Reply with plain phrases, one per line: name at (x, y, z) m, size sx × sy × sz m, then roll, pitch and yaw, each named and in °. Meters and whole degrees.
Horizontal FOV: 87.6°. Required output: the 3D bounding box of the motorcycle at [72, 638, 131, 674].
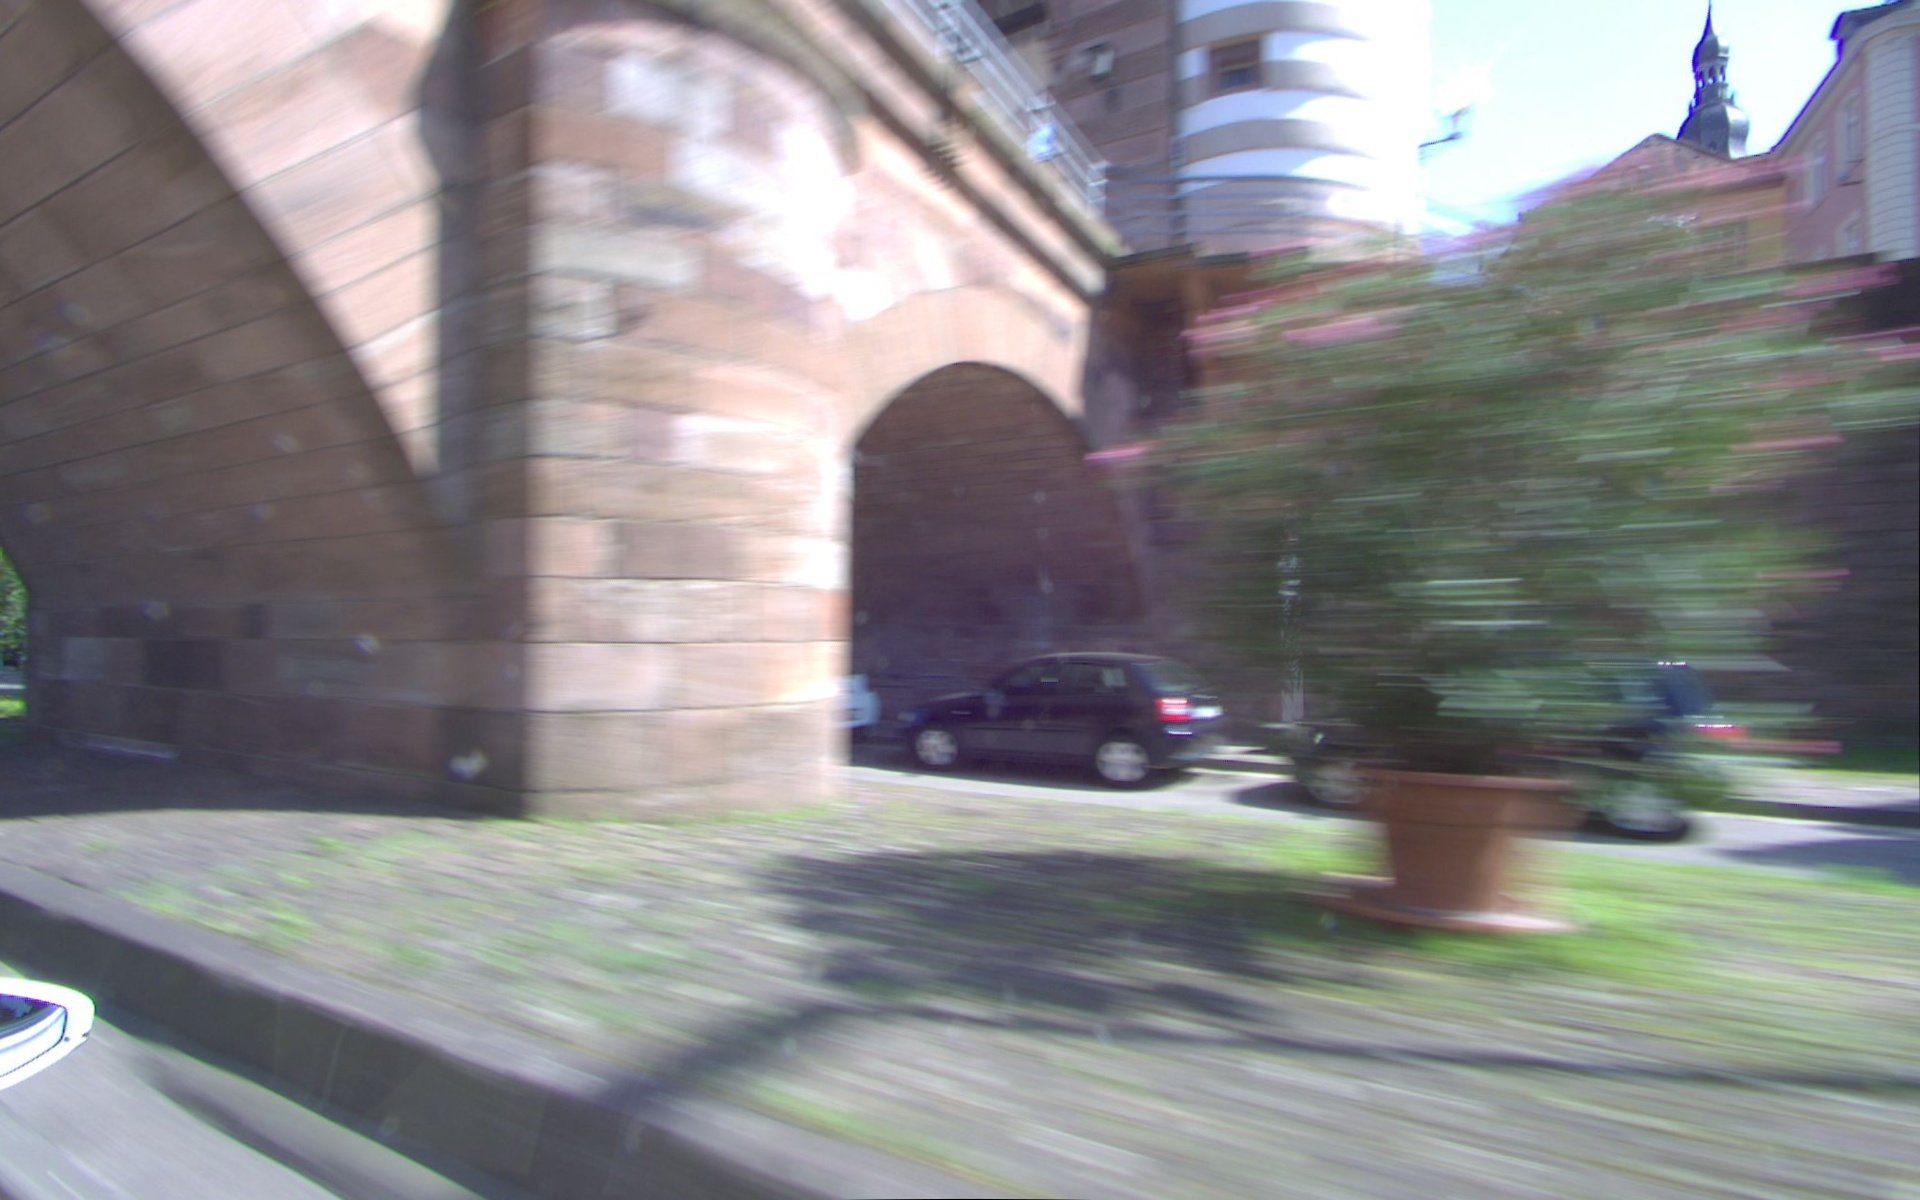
motorcycle at (-25.512, 1.654, 29.793) m, size 0.537 × 0.999 × 1.929 m, roll 1°, pitch -1°, yaw -15°

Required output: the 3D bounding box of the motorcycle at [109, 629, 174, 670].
motorcycle at (-24.174, 1.438, 29.609) m, size 0.617 × 1.162 × 2.195 m, roll 1°, pitch -1°, yaw -15°

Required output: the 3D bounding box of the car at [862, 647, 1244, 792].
car at (1.061, 1.332, 12.406) m, size 4.430 × 1.455 × 1.772 m, roll -1°, pitch -2°, yaw 34°

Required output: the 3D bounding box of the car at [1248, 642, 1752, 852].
car at (4.971, 1.193, 9.508) m, size 3.936 × 1.522 × 1.769 m, roll -1°, pitch -1°, yaw 38°

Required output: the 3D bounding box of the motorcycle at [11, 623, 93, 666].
motorcycle at (-28.277, 1.374, 31.229) m, size 0.768 × 1.283 × 2.183 m, roll 1°, pitch -1°, yaw -7°

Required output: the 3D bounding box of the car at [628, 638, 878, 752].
car at (-3.158, 1.341, 15.130) m, size 3.613 × 1.495 × 1.552 m, roll -1°, pitch -1°, yaw 30°
